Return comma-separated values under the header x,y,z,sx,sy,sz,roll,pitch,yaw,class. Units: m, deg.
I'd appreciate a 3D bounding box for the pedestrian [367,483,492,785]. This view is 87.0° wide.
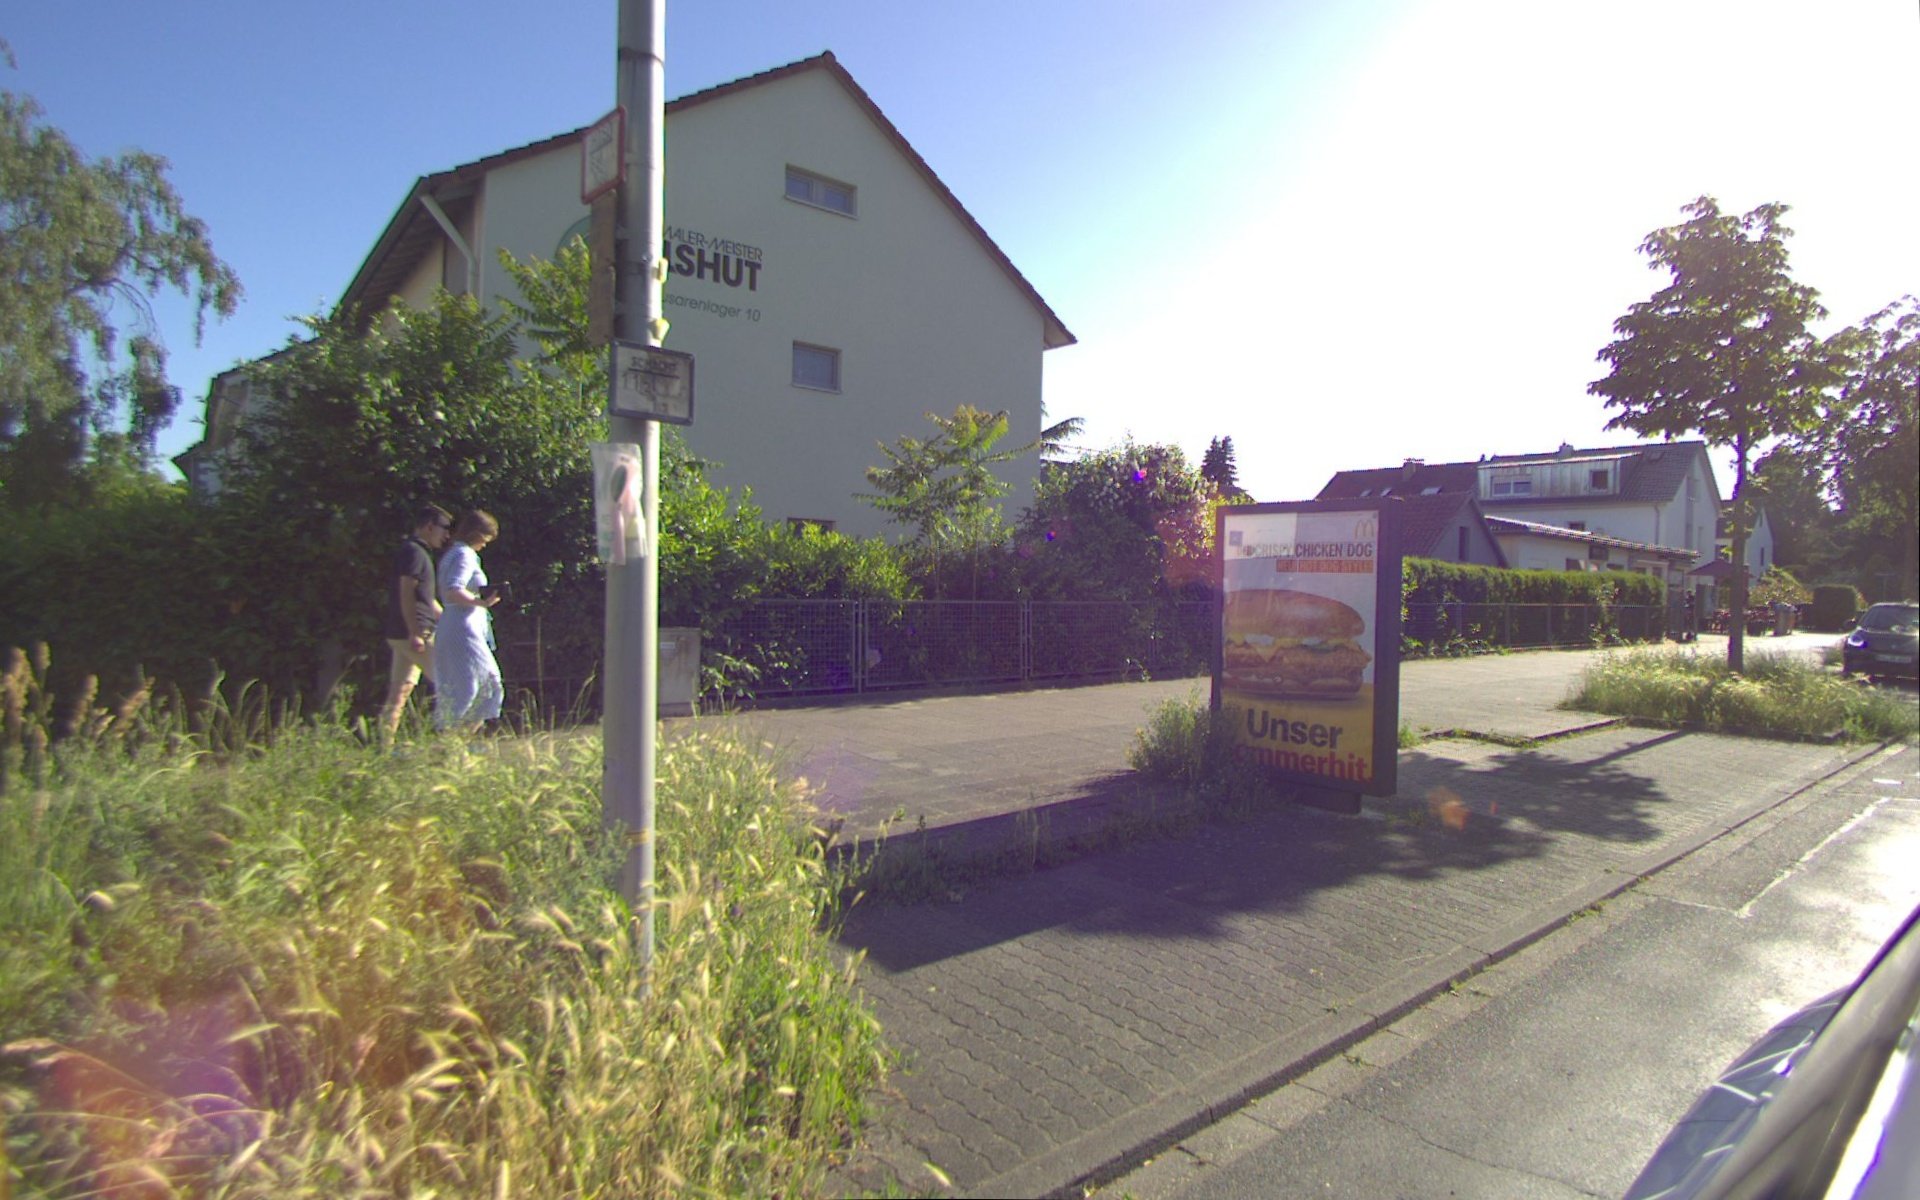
x,y,z,sx,sy,sz,roll,pitch,yaw,class
-3.264,0.192,6.271,0.647,1.754,0.557,0,0,-24,pedestrian

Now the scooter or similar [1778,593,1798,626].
x,y,z,sx,sy,sz,roll,pitch,yaw,class
33.083,0.373,40.436,0.454,1.311,0.502,0,3,-44,scooter or similar

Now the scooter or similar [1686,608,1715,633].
x,y,z,sx,sy,sz,roll,pitch,yaw,class
23.617,0.634,32.276,1.207,0.725,0.450,-1,6,-41,scooter or similar

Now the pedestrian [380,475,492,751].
x,y,z,sx,sy,sz,roll,pitch,yaw,class
-3.510,0.076,6.822,0.626,1.754,0.609,0,0,-24,pedestrian

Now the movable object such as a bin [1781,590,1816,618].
x,y,z,sx,sy,sz,roll,pitch,yaw,class
41.692,0.179,50.320,0.912,1.310,1.171,0,3,-41,movable object such as a bin

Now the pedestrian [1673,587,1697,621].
x,y,z,sx,sy,sz,roll,pitch,yaw,class
29.265,0.158,40.851,0.564,1.339,0.640,0,-1,-40,pedestrian

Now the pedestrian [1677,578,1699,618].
x,y,z,sx,sy,sz,roll,pitch,yaw,class
33.720,-0.094,46.882,0.722,1.831,0.672,0,0,-40,pedestrian

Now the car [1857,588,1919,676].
x,y,z,sx,sy,sz,roll,pitch,yaw,class
19.156,0.613,20.075,3.537,1.593,1.497,0,3,-41,car
